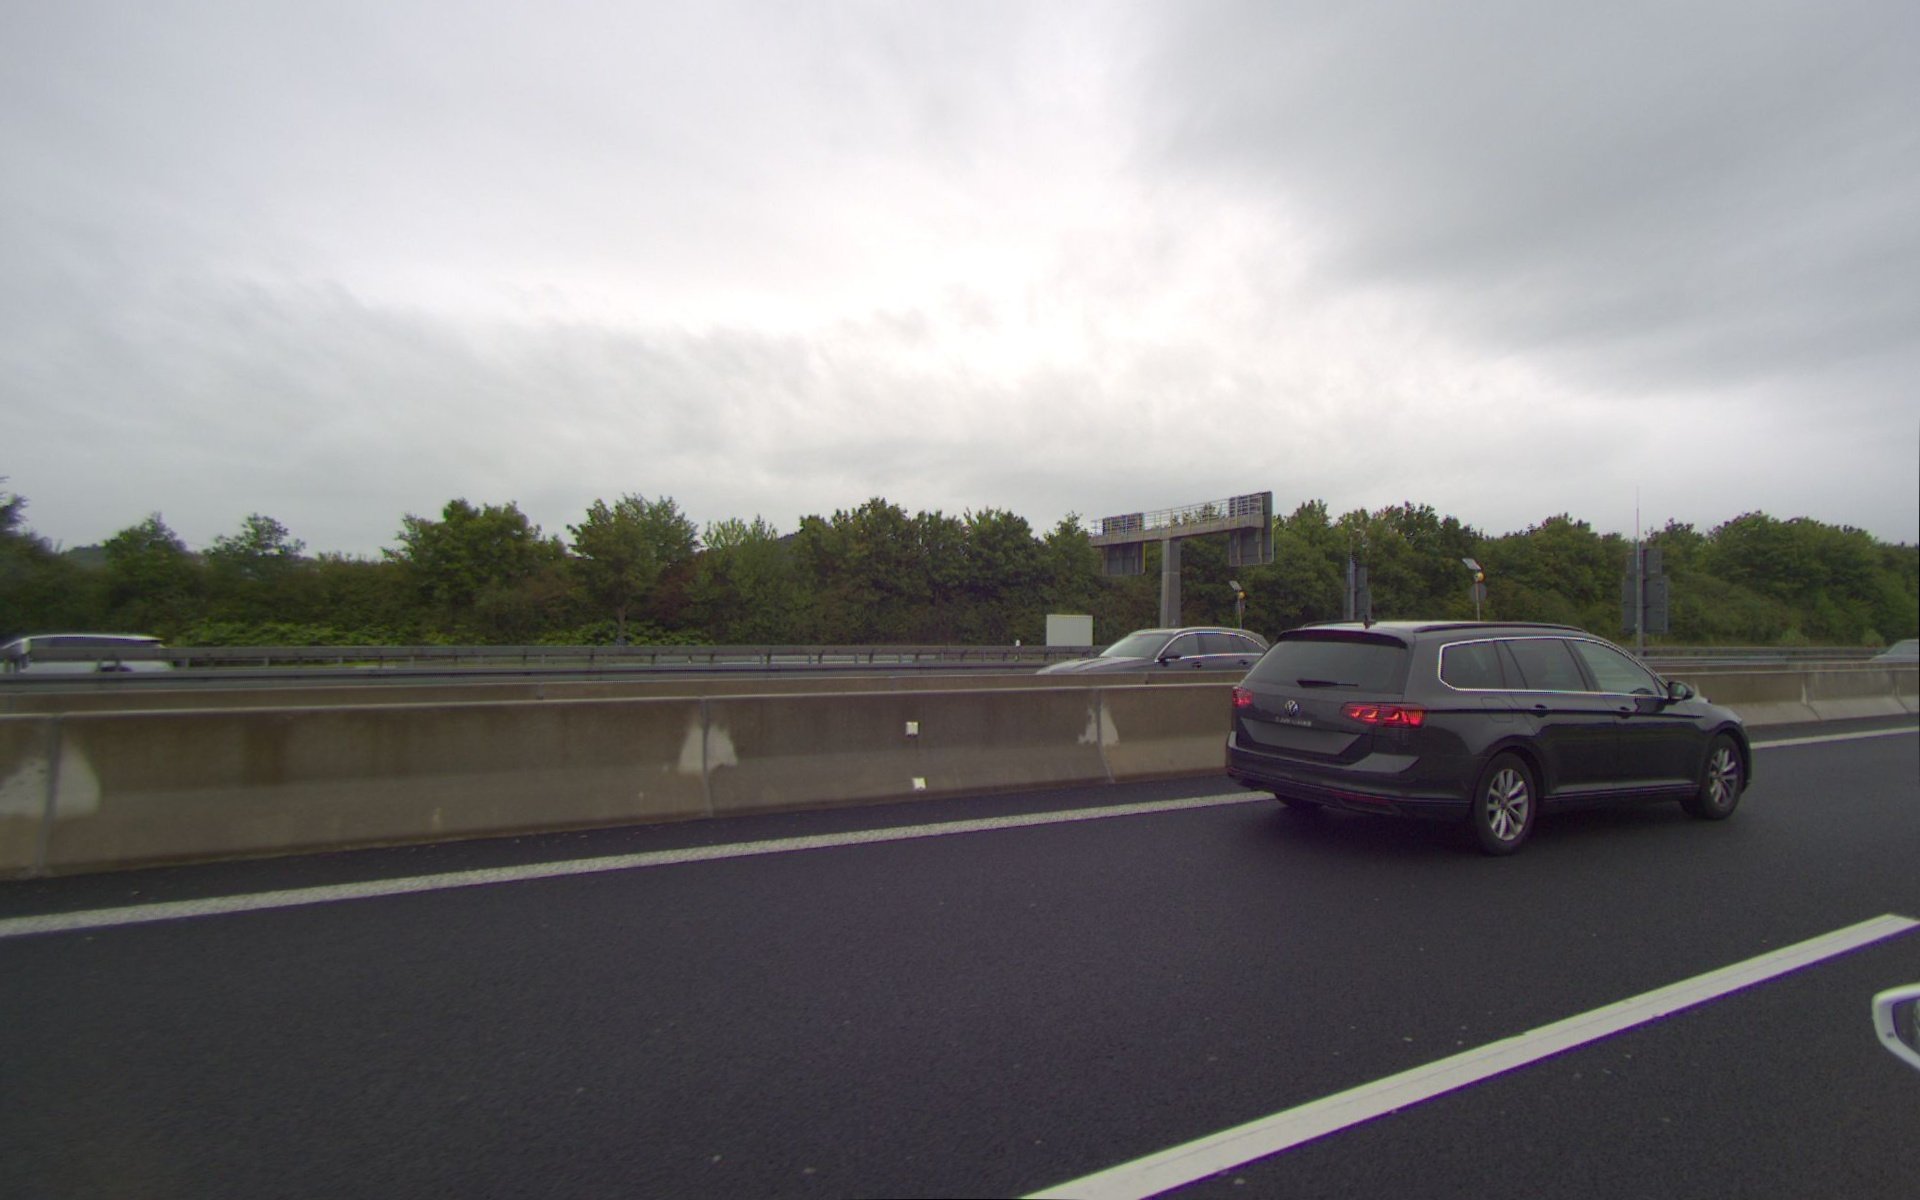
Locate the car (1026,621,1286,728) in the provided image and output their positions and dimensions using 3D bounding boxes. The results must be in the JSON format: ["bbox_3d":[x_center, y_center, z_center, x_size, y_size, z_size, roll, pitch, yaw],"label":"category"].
[{"bbox_3d":[3.201,1.139,16.268,3.953,1.528,1.789,1,-2,-30],"label":"car"}]

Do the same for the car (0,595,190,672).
[{"bbox_3d":[-21.807,0.822,24.565,4.451,1.785,1.984,1,-2,-30],"label":"car"}]

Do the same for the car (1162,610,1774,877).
[{"bbox_3d":[3.951,0.872,7.588,4.744,1.478,1.779,2,0,-29],"label":"car"}]

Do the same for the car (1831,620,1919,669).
[{"bbox_3d":[29.198,1.363,31.242,4.391,1.410,1.848,1,-2,-29],"label":"car"}]
